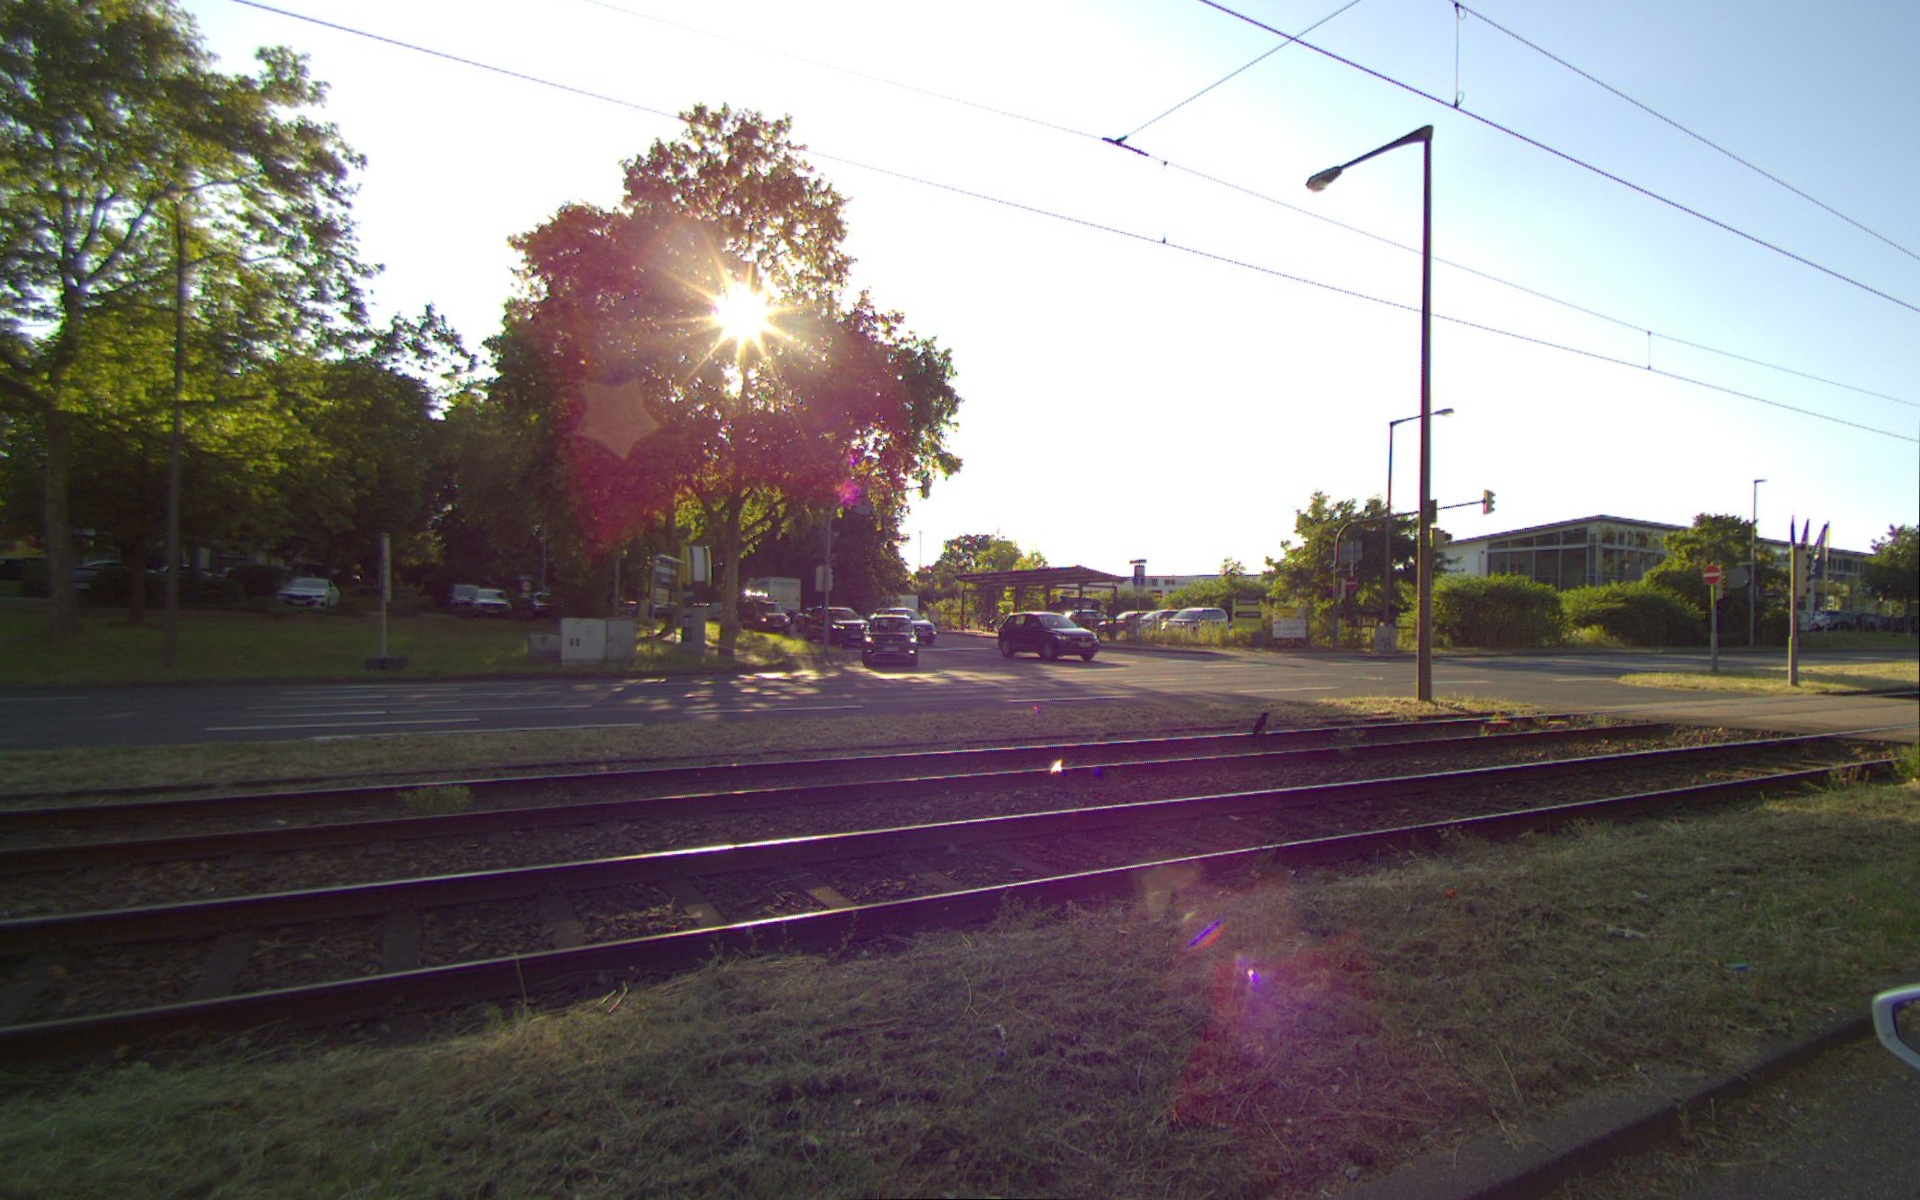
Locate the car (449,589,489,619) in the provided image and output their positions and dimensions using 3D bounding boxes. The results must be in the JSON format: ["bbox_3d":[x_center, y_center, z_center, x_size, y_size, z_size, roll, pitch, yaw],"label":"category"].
[{"bbox_3d":[-28.549,0.208,58.500,1.836,1.637,4.036,2,0,-23],"label":"car"}]

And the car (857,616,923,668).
[{"bbox_3d":[-2.342,1.351,32.791,1.726,1.578,3.966,0,-2,-10],"label":"car"}]

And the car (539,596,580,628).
[{"bbox_3d":[-20.416,0.594,51.143,1.604,1.477,3.878,2,0,-27],"label":"car"}]

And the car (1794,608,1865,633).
[{"bbox_3d":[65.205,1.512,75.369,3.940,1.727,1.735,1,0,40],"label":"car"}]

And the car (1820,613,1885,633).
[{"bbox_3d":[74.235,1.919,83.609,3.940,1.576,1.735,1,0,40],"label":"car"}]

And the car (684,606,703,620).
[{"bbox_3d":[-33.256,1.628,125.363,1.887,1.602,4.036,2,0,-21],"label":"car"}]

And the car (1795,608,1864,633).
[{"bbox_3d":[66.751,1.564,77.169,3.940,1.727,1.735,1,0,40],"label":"car"}]

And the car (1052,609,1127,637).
[{"bbox_3d":[7.741,1.361,59.996,4.123,1.604,1.969,1,0,-30],"label":"car"}]

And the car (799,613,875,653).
[{"bbox_3d":[-5.329,1.371,43.046,1.717,1.565,4.299,0,0,-30],"label":"car"}]

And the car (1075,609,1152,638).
[{"bbox_3d":[8.845,1.351,57.801,4.123,1.604,1.853,1,0,-30],"label":"car"}]

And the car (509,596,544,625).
[{"bbox_3d":[-26.208,0.587,60.719,1.836,1.637,4.036,2,0,-23],"label":"car"}]

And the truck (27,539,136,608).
[{"bbox_3d":[-44.490,-1.262,51.073,2.468,3.209,6.187,2,0,-26],"label":"truck"}]

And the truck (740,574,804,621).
[{"bbox_3d":[-15.021,-0.202,79.794,2.782,3.520,8.292,1,0,-27],"label":"truck"}]

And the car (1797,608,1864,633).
[{"bbox_3d":[68.389,1.563,78.981,3.940,1.840,1.735,1,0,40],"label":"car"}]

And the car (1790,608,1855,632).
[{"bbox_3d":[69.351,1.583,80.826,3.940,1.840,1.735,1,0,40],"label":"car"}]

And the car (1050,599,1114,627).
[{"bbox_3d":[9.313,1.022,76.667,4.715,2.041,1.853,1,0,-30],"label":"car"}]

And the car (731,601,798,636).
[{"bbox_3d":[-10.025,0.908,51.234,1.824,1.656,4.270,1,0,-34],"label":"car"}]

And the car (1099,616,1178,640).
[{"bbox_3d":[9.963,1.552,55.870,4.123,1.284,1.853,1,0,-30],"label":"car"}]

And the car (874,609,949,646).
[{"bbox_3d":[-2.241,1.205,45.457,1.692,1.582,4.133,0,0,-30],"label":"car"}]

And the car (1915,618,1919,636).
[{"bbox_3d":[91.325,2.583,93.017,1.725,1.642,3.962,1,0,-34],"label":"car"}]

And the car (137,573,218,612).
[{"bbox_3d":[-33.933,-0.325,43.690,1.916,1.530,4.071,2,0,-26],"label":"car"}]

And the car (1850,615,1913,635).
[{"bbox_3d":[79.640,2.143,86.889,3.940,1.576,1.735,1,0,40],"label":"car"}]

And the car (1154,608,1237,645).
[{"bbox_3d":[12.386,1.388,52.738,4.123,1.846,1.853,1,0,-30],"label":"car"}]

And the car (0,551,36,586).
[{"bbox_3d":[-53.836,-1.794,56.391,2.274,1.875,5.220,2,0,-36],"label":"car"}]

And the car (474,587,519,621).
[{"bbox_3d":[-22.911,0.181,49.594,1.916,1.530,4.071,2,0,-26],"label":"car"}]

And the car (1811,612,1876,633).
[{"bbox_3d":[72.015,1.822,81.941,3.940,1.576,1.735,1,0,40],"label":"car"}]

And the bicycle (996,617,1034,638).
[{"bbox_3d":[3.093,1.542,56.415,2.004,1.119,0.777,2,0,-30],"label":"bicycle"}]

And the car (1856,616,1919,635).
[{"bbox_3d":[81.793,2.232,88.507,1.728,1.576,3.957,1,0,-37],"label":"car"}]

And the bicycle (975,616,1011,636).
[{"bbox_3d":[1.952,1.523,59.051,2.004,1.119,0.777,2,0,-30],"label":"bicycle"}]

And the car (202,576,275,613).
[{"bbox_3d":[-32.091,-0.251,44.763,1.916,1.530,4.071,2,0,-26],"label":"car"}]

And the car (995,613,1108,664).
[{"bbox_3d":[3.157,1.303,35.610,1.856,1.656,4.335,1,-1,-30],"label":"car"}]

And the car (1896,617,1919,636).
[{"bbox_3d":[88.409,2.466,91.738,1.725,1.642,3.962,1,0,-34],"label":"car"}]

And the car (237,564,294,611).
[{"bbox_3d":[-37.273,-0.670,54.015,2.138,2.334,4.370,2,0,-31],"label":"car"}]

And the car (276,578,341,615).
[{"bbox_3d":[-29.409,-0.150,45.444,1.916,1.530,4.071,2,0,-26],"label":"car"}]

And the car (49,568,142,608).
[{"bbox_3d":[-36.065,-0.488,42.027,1.916,1.530,4.071,2,0,-26],"label":"car"}]

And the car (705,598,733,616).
[{"bbox_3d":[-22.765,0.617,94.826,1.711,1.603,4.028,1,0,-27],"label":"car"}]
